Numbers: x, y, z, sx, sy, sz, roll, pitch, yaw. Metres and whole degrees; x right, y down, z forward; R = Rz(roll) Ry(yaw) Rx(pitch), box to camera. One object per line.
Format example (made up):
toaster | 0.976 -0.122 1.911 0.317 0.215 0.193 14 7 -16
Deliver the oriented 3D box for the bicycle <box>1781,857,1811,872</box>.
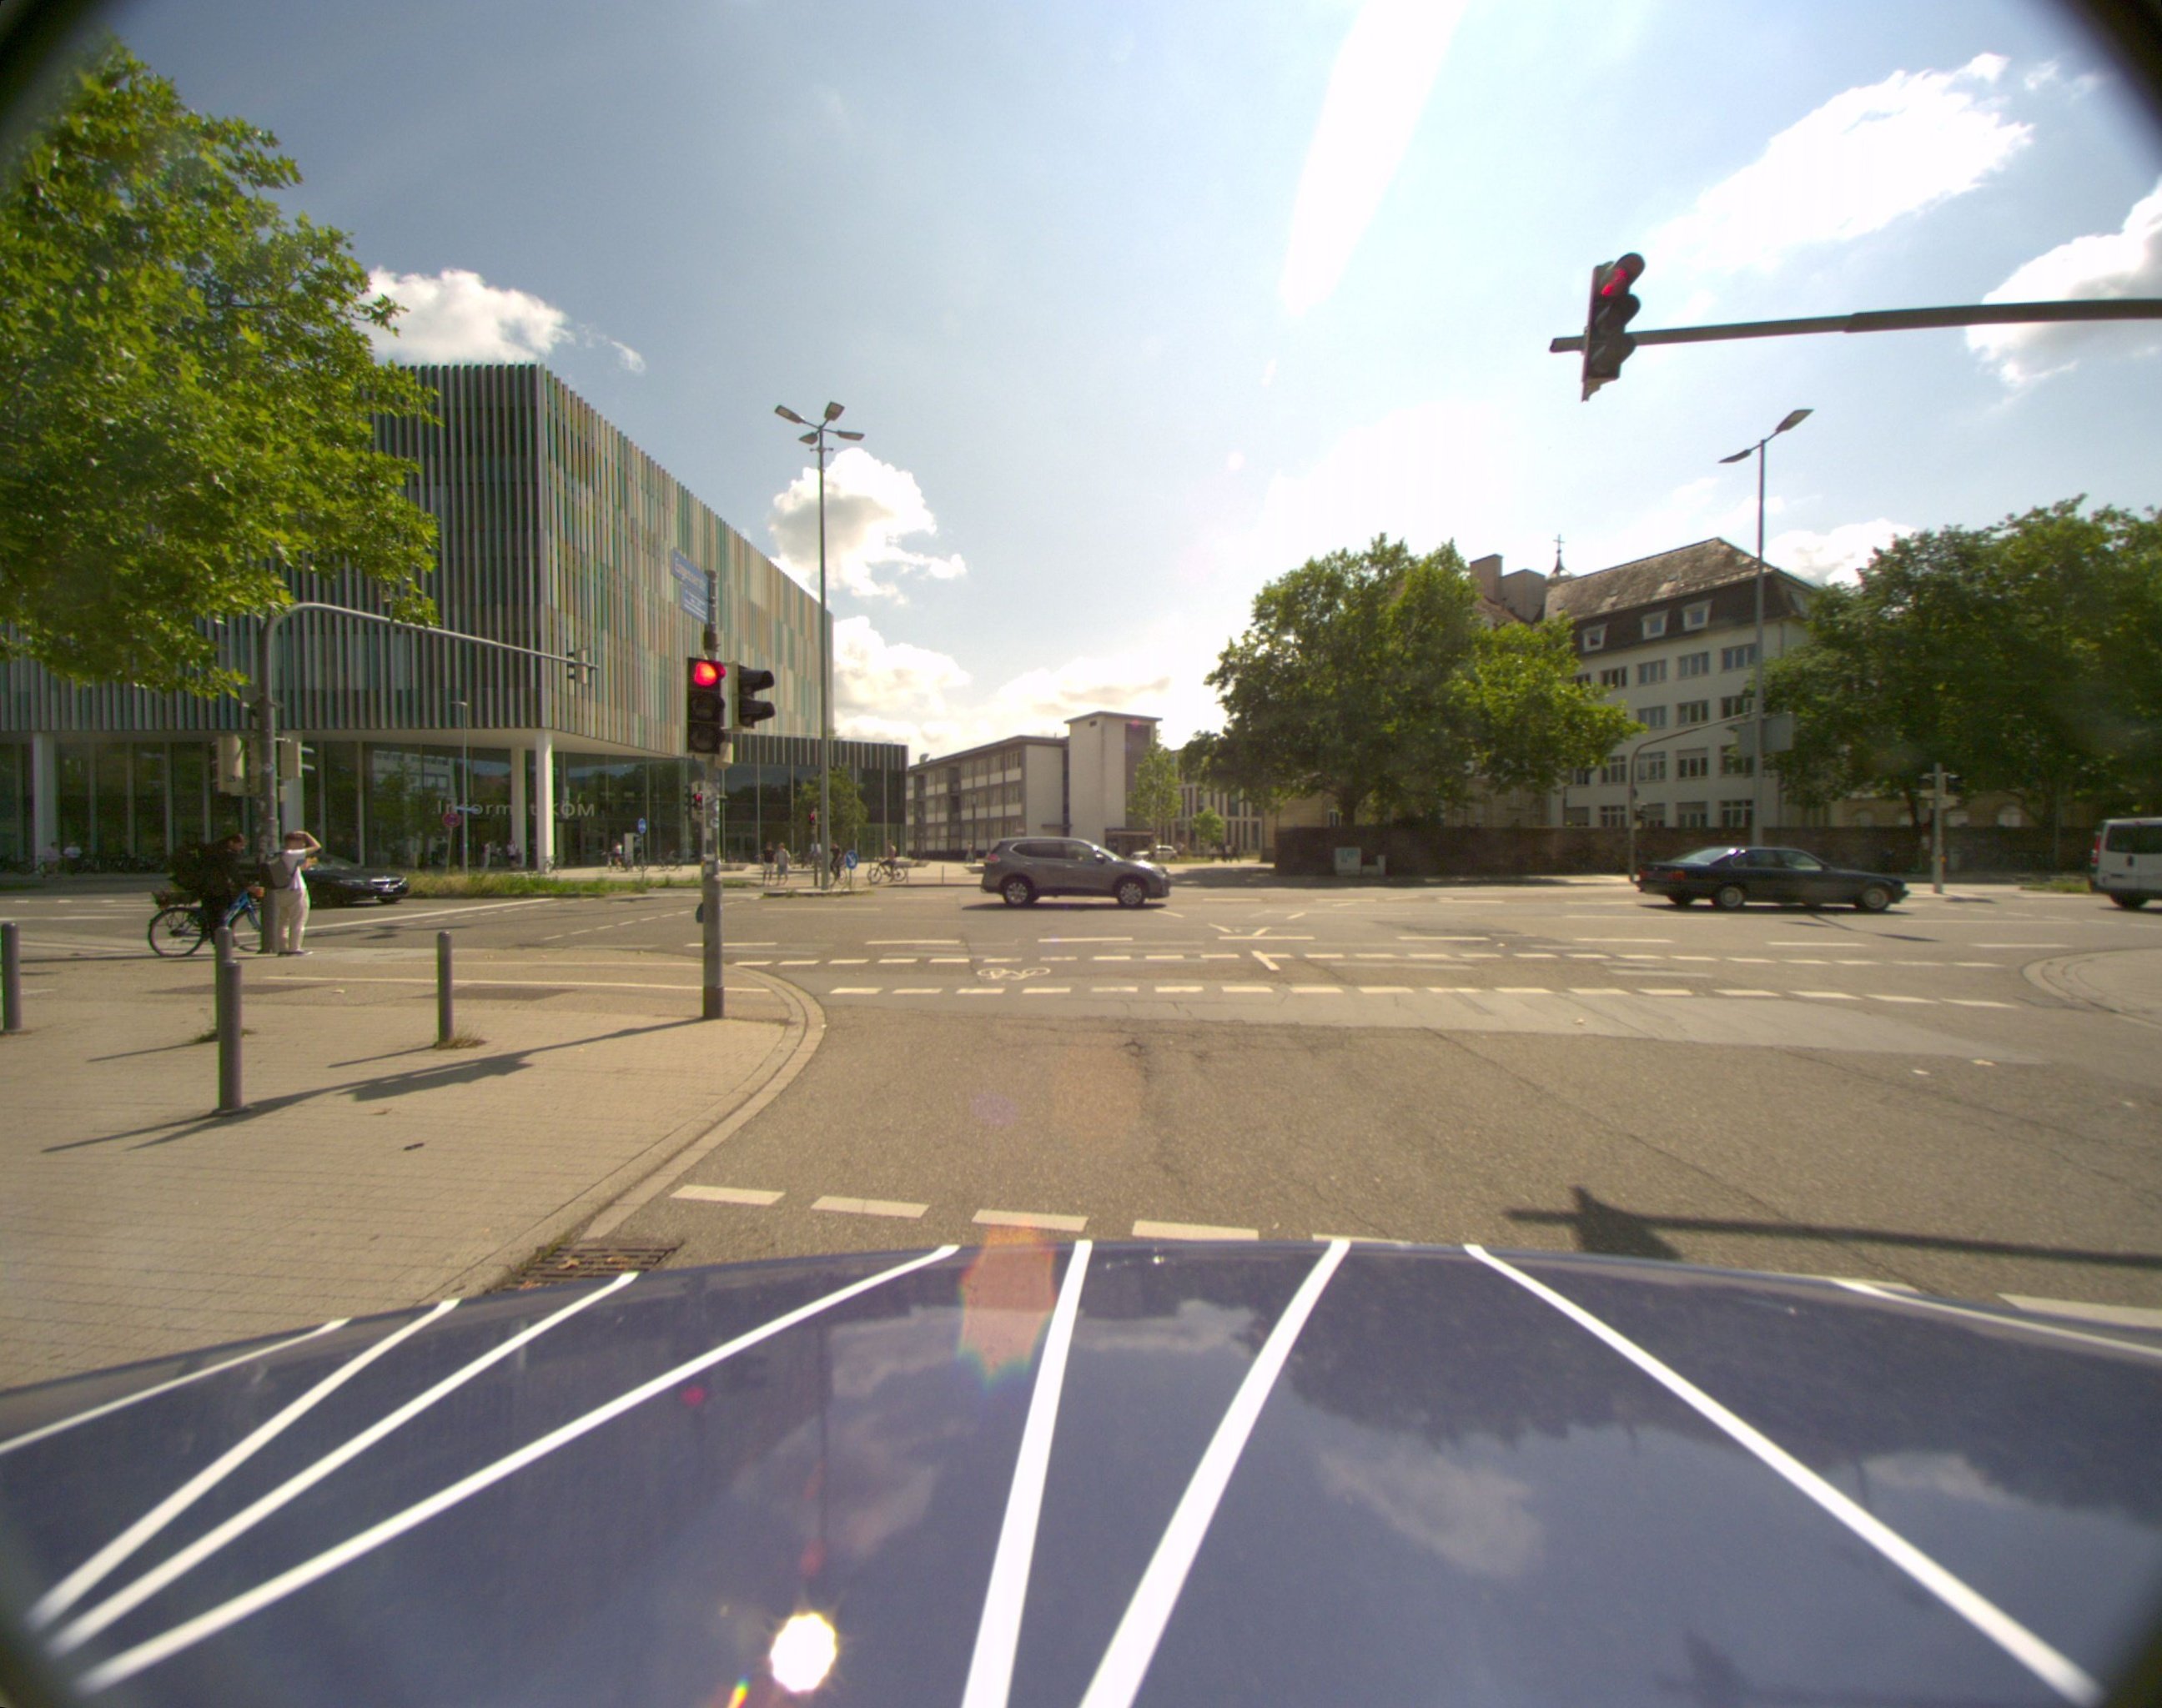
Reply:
bicycle | 34.981 0.529 37.193 0.409 0.678 1.004 -2 3 -37

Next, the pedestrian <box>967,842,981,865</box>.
pedestrian | -8.382 -0.034 59.554 0.845 1.780 0.676 -1 1 -28

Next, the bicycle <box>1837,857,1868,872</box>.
bicycle | 37.903 0.511 37.339 0.409 0.678 1.004 -2 3 -37

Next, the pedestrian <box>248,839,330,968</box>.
pedestrian | -11.367 0.696 10.918 0.594 1.790 0.612 -1 -1 18

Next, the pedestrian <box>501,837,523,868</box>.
pedestrian | -34.365 -0.106 45.897 0.677 1.832 0.691 0 2 9

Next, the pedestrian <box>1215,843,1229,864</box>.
pedestrian | 12.088 -0.053 65.082 0.890 1.780 0.845 0 1 35

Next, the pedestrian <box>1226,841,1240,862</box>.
pedestrian | 12.844 -0.222 64.316 0.863 1.779 0.845 0 1 35

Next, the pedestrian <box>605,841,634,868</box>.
pedestrian | -28.715 0.019 47.259 1.014 1.641 1.183 0 1 2

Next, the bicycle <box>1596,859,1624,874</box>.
bicycle | 25.492 0.591 36.610 0.409 0.678 1.005 -1 3 -23

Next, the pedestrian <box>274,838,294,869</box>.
pedestrian | -47.415 -0.044 45.195 0.554 1.832 0.561 -1 2 -6

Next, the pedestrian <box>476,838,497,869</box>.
pedestrian | -35.089 -0.043 44.848 0.516 1.832 0.790 1 3 36

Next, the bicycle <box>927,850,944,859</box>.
bicycle | -16.059 0.023 83.869 1.776 0.950 0.528 -1 3 -26

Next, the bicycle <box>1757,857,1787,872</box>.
bicycle | 33.915 0.528 37.307 0.409 0.678 1.004 -2 3 -37

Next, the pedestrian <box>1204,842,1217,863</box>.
pedestrian | 11.161 -0.166 65.624 0.812 1.780 0.845 0 1 32

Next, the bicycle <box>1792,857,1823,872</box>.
bicycle | 35.603 0.524 37.242 0.409 0.678 1.004 -2 3 -37

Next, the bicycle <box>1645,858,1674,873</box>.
bicycle | 28.065 0.570 36.863 0.409 0.678 1.005 -1 3 -23

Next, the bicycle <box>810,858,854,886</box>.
bicycle | -10.573 0.757 32.233 1.673 1.118 0.693 -1 1 -26

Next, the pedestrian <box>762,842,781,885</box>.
pedestrian | -13.220 0.405 32.424 0.633 1.832 0.479 -1 2 -13

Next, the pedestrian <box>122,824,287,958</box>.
pedestrian | -12.640 0.538 11.017 0.855 1.808 1.177 2 -3 4

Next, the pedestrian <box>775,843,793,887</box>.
pedestrian | -12.787 0.468 32.690 0.575 1.832 0.415 0 2 -3

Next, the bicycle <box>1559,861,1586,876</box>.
bicycle | 23.460 0.685 36.305 0.409 0.678 1.005 -1 3 -23

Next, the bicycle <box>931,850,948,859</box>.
bicycle | -15.442 0.024 82.772 1.776 0.950 0.528 -1 3 -26

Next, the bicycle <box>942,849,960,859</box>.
bicycle | -13.736 -0.007 80.121 1.776 0.950 0.528 -1 3 -26

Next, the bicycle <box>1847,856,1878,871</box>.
bicycle | 38.658 0.480 37.588 0.409 0.678 1.004 -2 3 -37

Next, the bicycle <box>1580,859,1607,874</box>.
bicycle | 24.614 0.600 36.478 0.409 0.678 1.005 -1 3 -23

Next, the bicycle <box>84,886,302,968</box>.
bicycle | -12.667 0.998 10.956 0.817 1.066 1.892 1 -2 4

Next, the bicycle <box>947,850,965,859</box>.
bicycle | -12.997 0.024 78.784 1.776 0.950 0.528 -1 3 -26

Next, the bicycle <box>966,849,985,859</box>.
bicycle | -10.344 0.035 74.810 1.776 0.950 0.528 -1 3 -26

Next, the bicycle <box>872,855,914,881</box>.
bicycle | -8.310 0.606 33.543 1.673 1.118 0.694 -1 1 -23

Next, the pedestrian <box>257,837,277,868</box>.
pedestrian | -48.988 -0.079 45.737 0.554 1.832 0.561 -1 2 -6

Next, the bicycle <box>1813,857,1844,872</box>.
bicycle | 36.609 0.521 37.228 0.409 0.678 1.004 -2 3 -37

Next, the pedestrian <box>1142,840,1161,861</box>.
pedestrian | 5.543 -0.276 59.436 1.297 1.641 1.327 0 1 14

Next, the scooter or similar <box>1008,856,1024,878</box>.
scooter or similar | -3.173 0.613 37.112 0.403 1.060 1.149 -1 1 -25

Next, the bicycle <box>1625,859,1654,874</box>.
bicycle | 26.886 0.587 36.585 0.409 0.678 1.005 -1 3 -23

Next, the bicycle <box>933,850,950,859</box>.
bicycle | -15.078 0.018 82.215 1.776 0.950 0.528 -1 3 -26

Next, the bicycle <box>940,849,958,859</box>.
bicycle | -14.043 0.009 80.703 1.776 0.950 0.528 -1 3 -26

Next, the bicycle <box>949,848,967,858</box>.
bicycle | -12.653 -0.101 77.952 1.776 0.950 0.528 -1 3 -26

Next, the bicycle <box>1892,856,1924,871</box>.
bicycle | 41.193 0.480 37.851 0.409 0.678 1.004 -2 3 -37

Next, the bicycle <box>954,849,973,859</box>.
bicycle | -11.902 -0.022 76.882 1.776 0.950 0.528 -1 3 -26
